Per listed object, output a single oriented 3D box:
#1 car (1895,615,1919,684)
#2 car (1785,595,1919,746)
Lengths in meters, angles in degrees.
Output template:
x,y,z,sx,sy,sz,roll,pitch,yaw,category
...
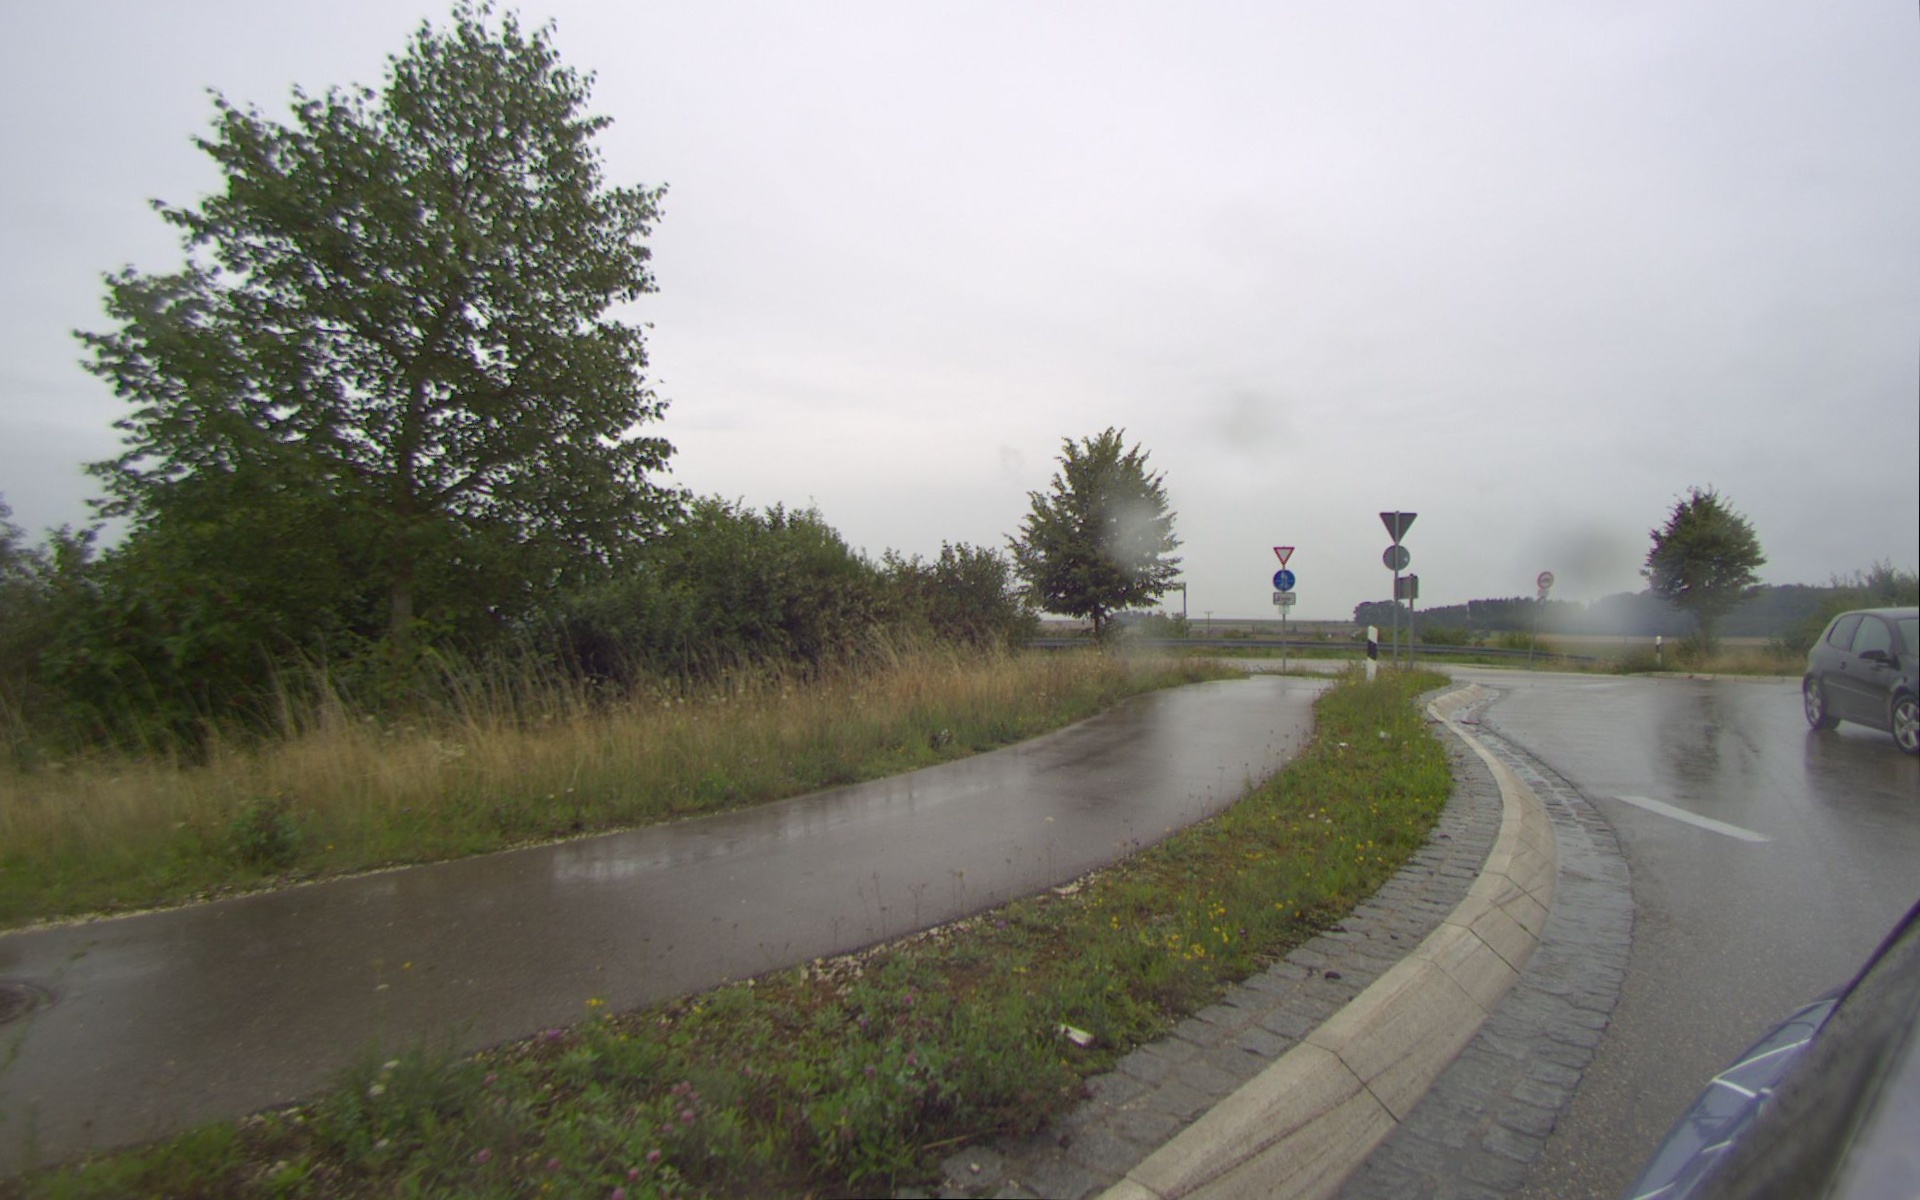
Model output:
x,y,z,sx,sy,sz,roll,pitch,yaw,category
21.514,1.097,20.013,4.413,1.389,1.952,3,-1,-5,car
10.737,0.739,10.857,1.855,1.439,4.463,1,-1,25,car
